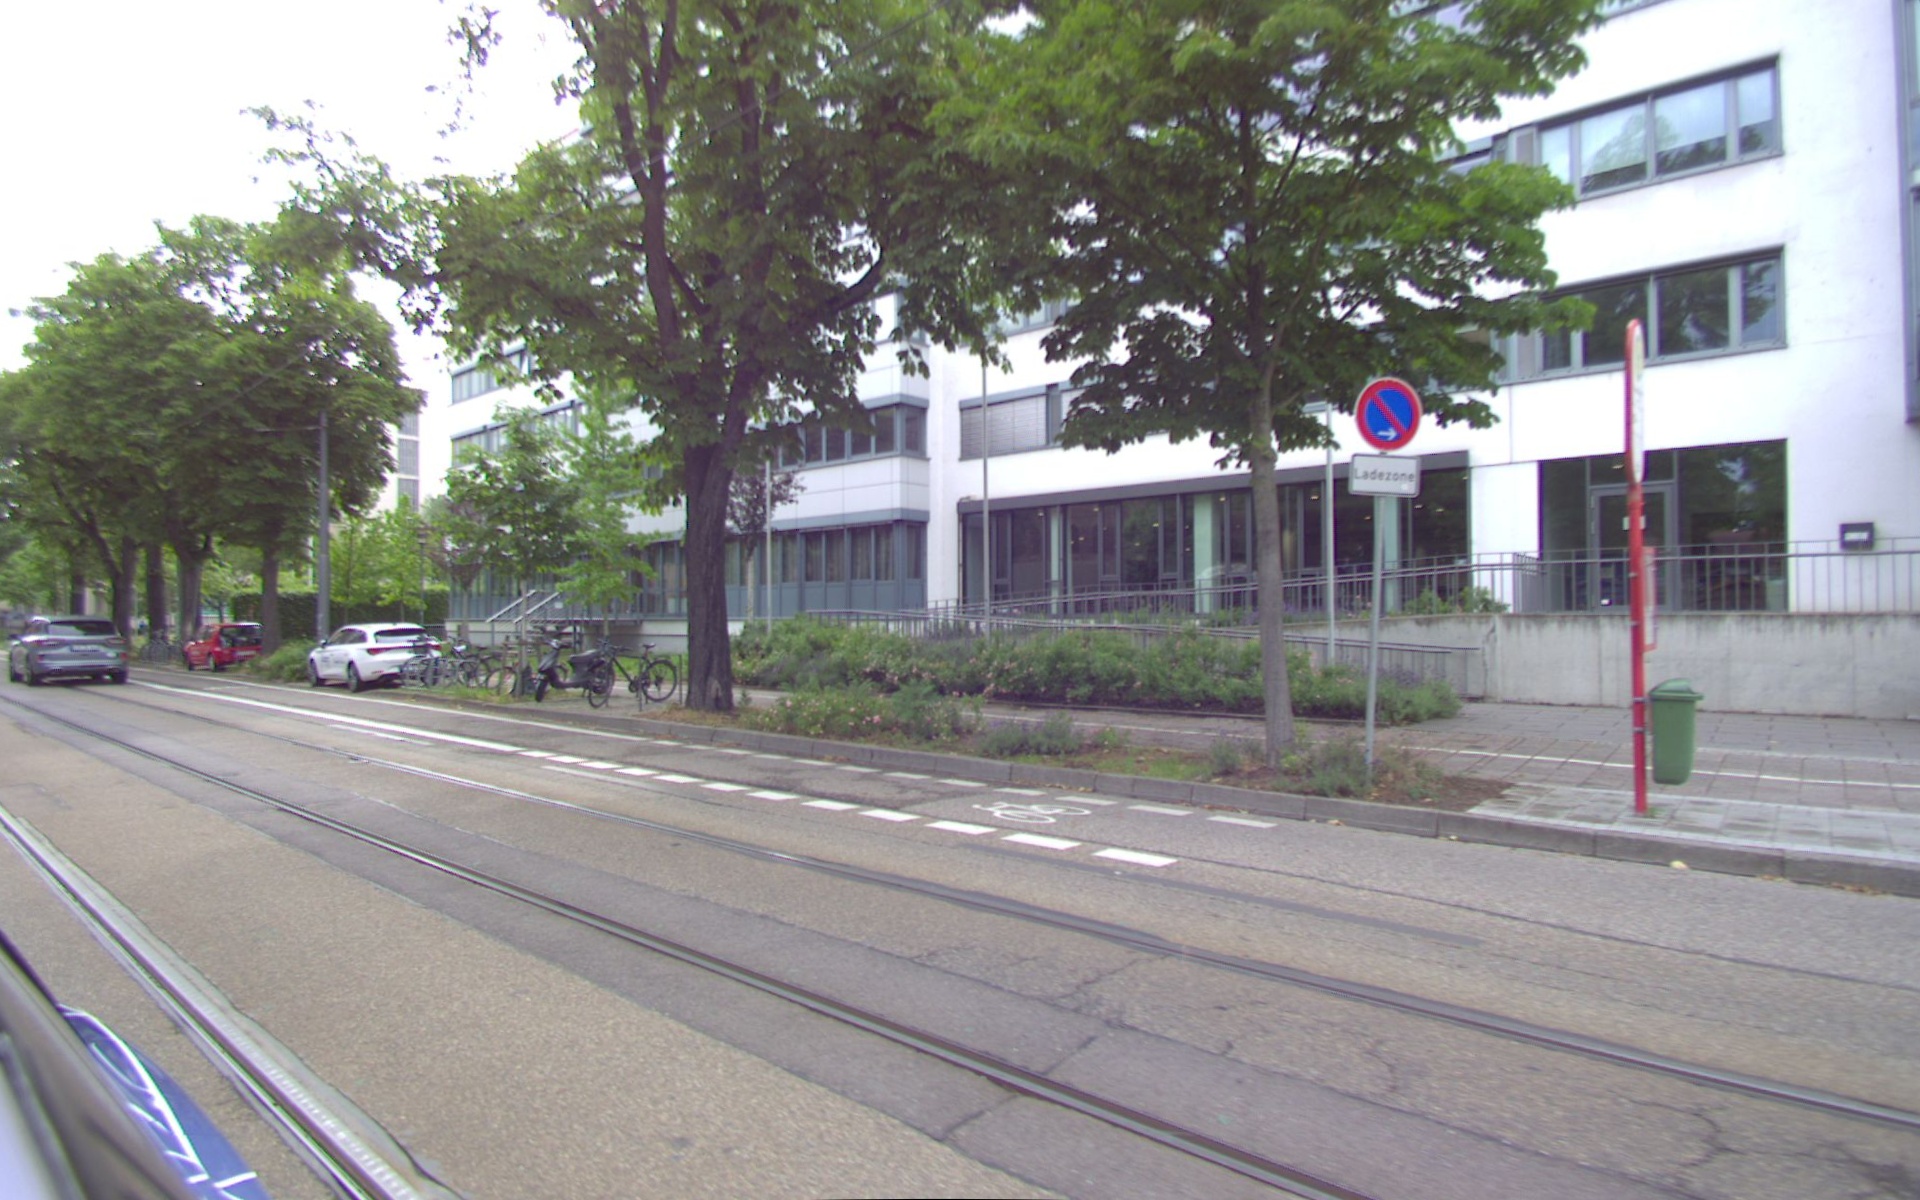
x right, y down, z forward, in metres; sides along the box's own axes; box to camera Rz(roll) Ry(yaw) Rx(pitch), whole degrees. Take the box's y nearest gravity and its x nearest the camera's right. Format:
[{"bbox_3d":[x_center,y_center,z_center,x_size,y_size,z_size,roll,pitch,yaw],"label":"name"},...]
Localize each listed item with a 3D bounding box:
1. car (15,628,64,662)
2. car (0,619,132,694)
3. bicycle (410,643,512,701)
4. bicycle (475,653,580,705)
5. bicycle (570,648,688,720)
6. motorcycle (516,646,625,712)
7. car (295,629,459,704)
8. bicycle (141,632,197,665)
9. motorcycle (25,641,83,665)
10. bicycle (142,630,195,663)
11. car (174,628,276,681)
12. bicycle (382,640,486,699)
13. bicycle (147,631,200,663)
[{"bbox_3d":[-51.887,2.497,57.034,4.001,1.722,1.791,-1,1,44],"label":"car"},{"bbox_3d":[-21.692,1.344,24.481,4.387,1.667,1.823,-2,-4,41],"label":"car"},{"bbox_3d":[-10.256,1.462,20.864,0.631,1.108,1.790,0,-2,34],"label":"bicycle"},{"bbox_3d":[-8.292,1.497,19.480,0.631,0.906,1.790,0,-2,34],"label":"bicycle"},{"bbox_3d":[-5.477,1.359,16.848,0.739,1.061,1.814,-2,-1,32],"label":"bicycle"},{"bbox_3d":[-7.053,1.399,18.404,0.731,1.058,1.773,-1,0,34],"label":"motorcycle"},{"bbox_3d":[-13.600,1.464,23.486,4.751,1.505,1.862,-1,0,41],"label":"car"},{"bbox_3d":[-28.590,1.751,36.601,0.614,1.100,1.460,-1,0,28],"label":"bicycle"},{"bbox_3d":[-45.602,2.664,50.958,2.100,1.111,0.776,-1,0,-8],"label":"motorcycle"},{"bbox_3d":[-29.544,1.730,37.806,0.617,1.149,1.454,-1,0,39],"label":"bicycle"},{"bbox_3d":[-23.435,1.700,32.225,3.752,1.458,1.613,-1,2,38],"label":"car"},{"bbox_3d":[-11.179,1.456,21.568,0.633,1.195,1.843,-1,-2,45],"label":"bicycle"},{"bbox_3d":[-29.133,1.725,37.510,0.617,1.149,1.454,-1,-1,39],"label":"bicycle"}]
